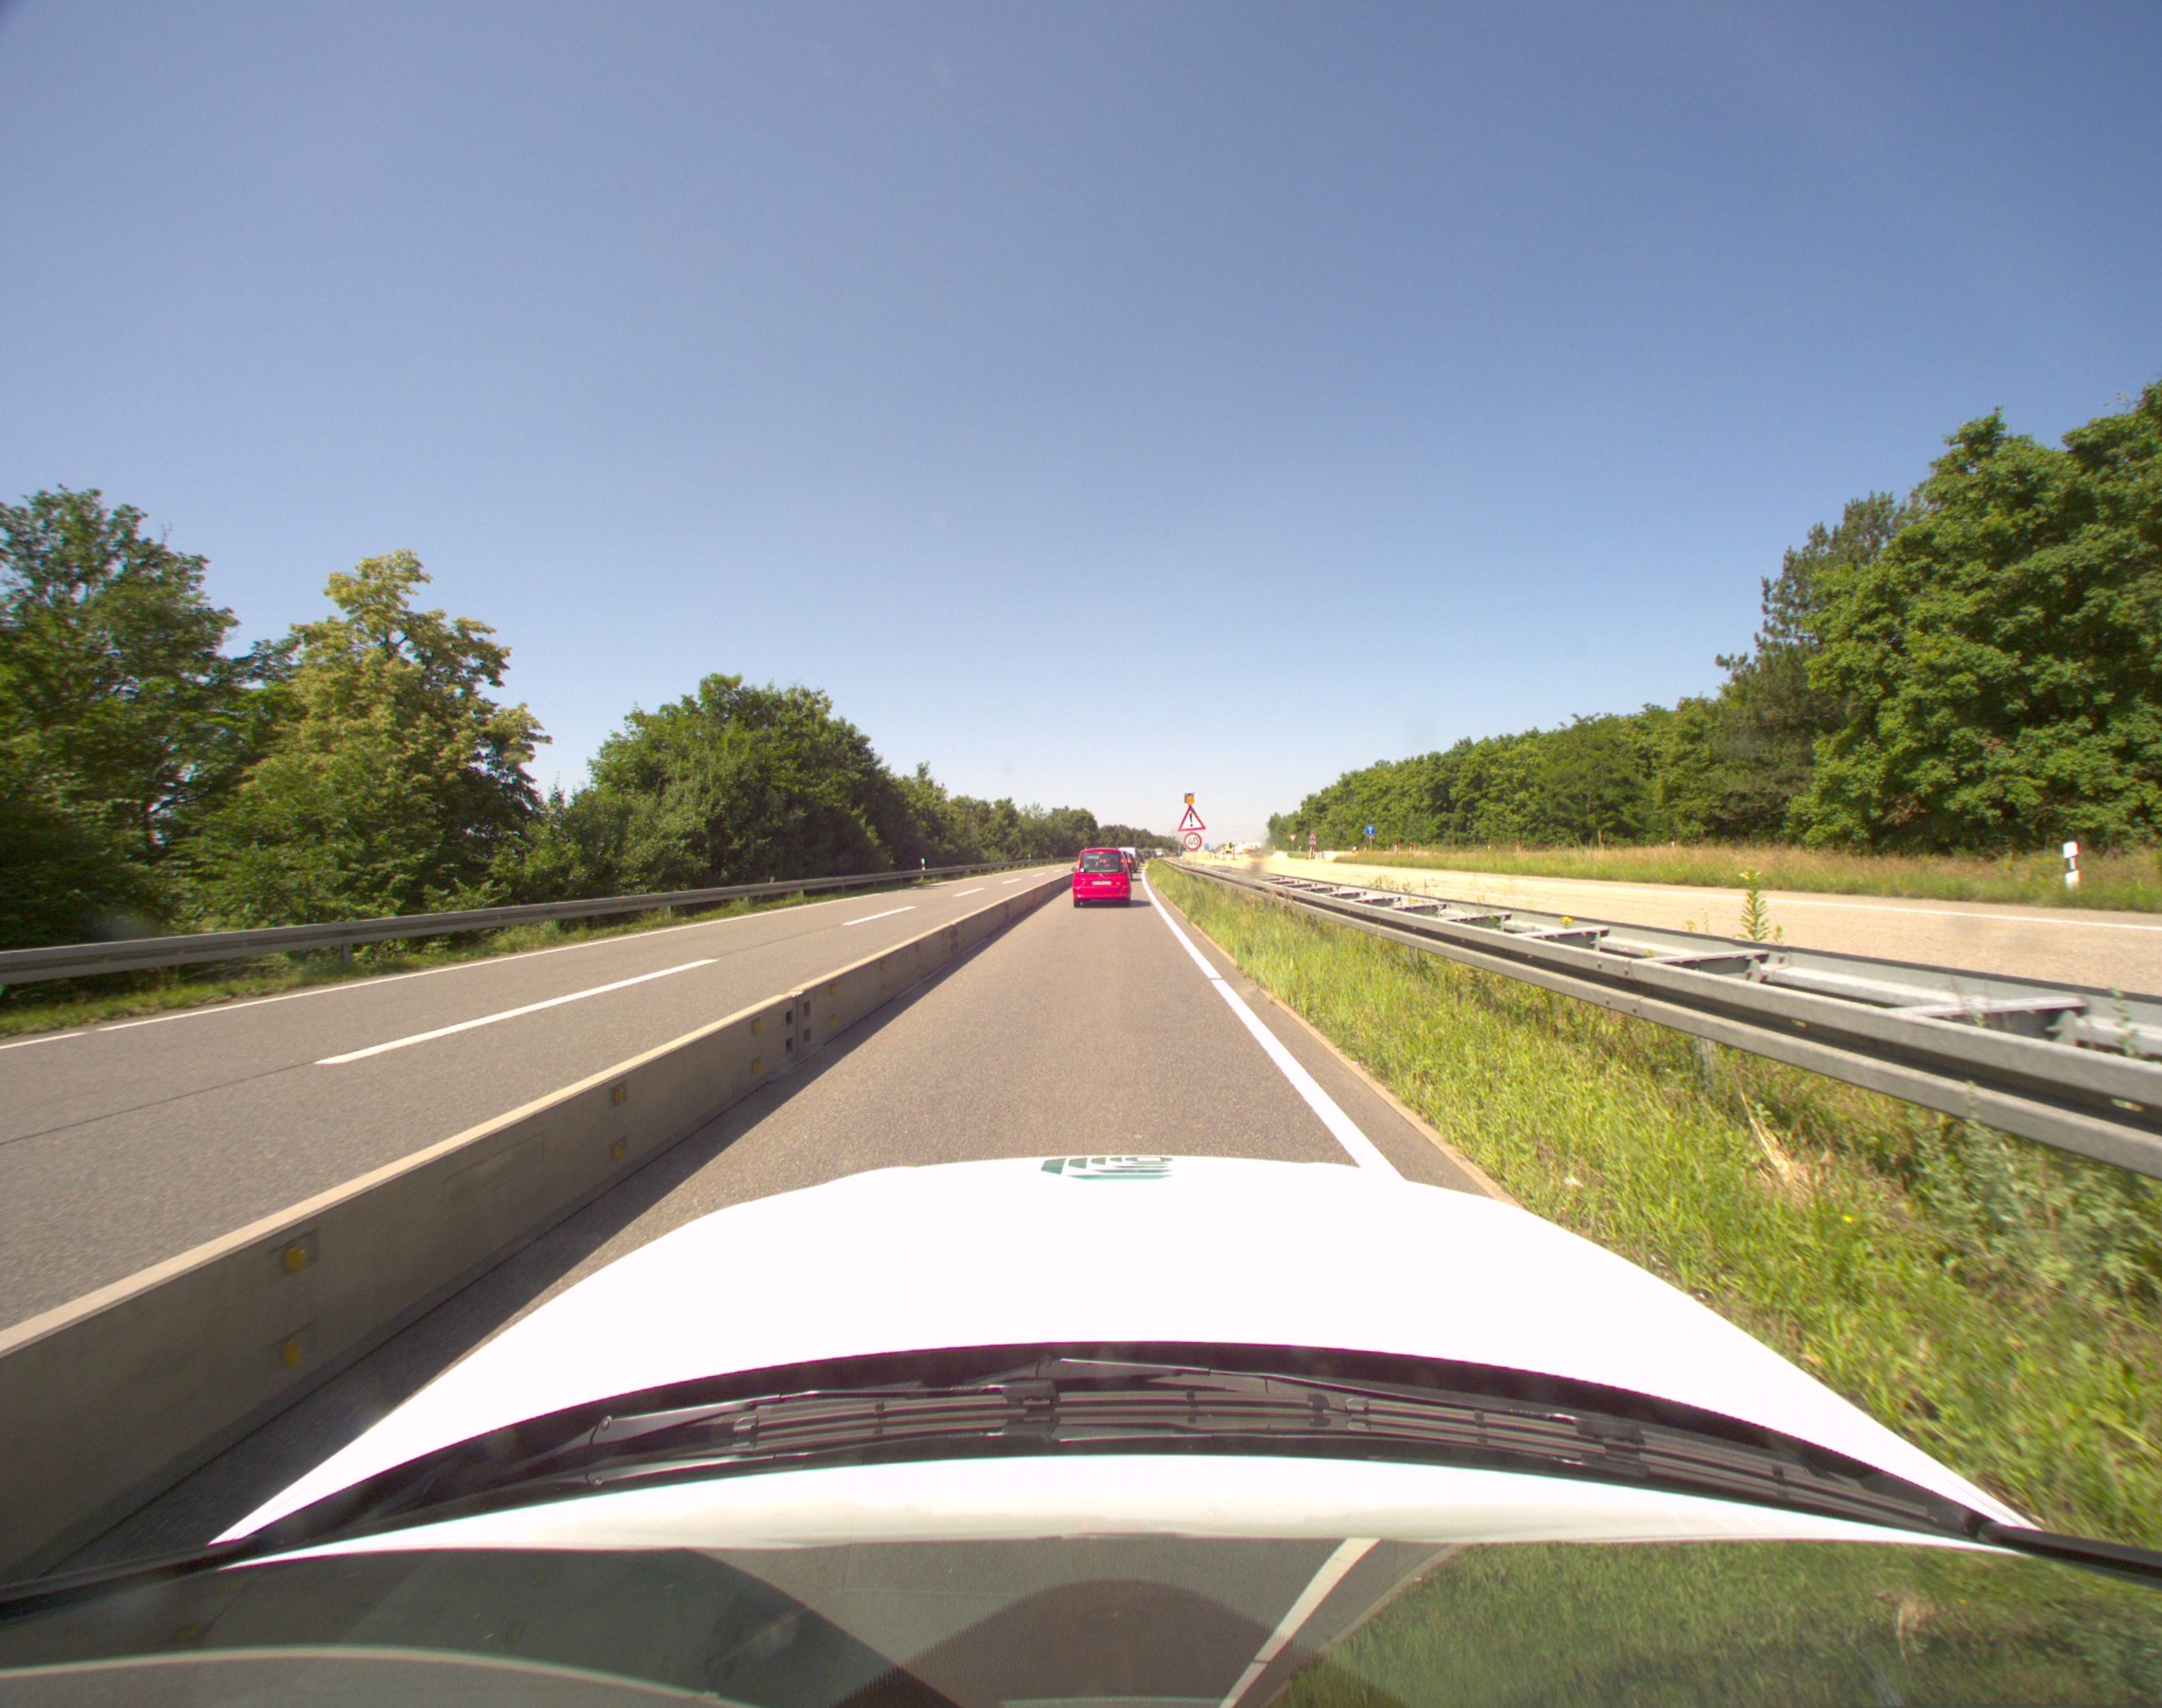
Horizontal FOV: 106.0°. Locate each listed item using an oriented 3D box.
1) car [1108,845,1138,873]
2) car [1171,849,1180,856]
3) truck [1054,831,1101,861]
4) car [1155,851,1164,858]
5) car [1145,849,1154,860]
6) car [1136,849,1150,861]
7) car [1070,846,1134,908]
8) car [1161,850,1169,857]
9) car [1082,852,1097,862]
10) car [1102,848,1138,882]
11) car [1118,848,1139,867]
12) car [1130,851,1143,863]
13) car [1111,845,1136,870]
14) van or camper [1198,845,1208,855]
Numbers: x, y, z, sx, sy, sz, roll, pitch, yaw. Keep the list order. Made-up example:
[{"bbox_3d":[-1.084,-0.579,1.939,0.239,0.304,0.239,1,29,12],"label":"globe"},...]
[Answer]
[{"bbox_3d":[3.009,0.353,58.057,1.985,1.838,4.003,-2,0,3],"label":"car"},{"bbox_3d":[22.177,-0.406,191.822,1.984,1.552,4.005,-1,0,4],"label":"car"},{"bbox_3d":[-0.715,-1.509,159.192,8.578,5.375,3.394,-2,0,5],"label":"truck"},{"bbox_3d":[14.683,0.095,152.168,1.414,1.298,2.884,-1,0,7],"label":"car"},{"bbox_3d":[11.502,0.036,136.335,1.495,1.736,3.174,-2,0,5],"label":"car"},{"bbox_3d":[9.134,0.131,120.305,1.984,1.585,4.006,-1,0,5],"label":"car"},{"bbox_3d":[0.611,0.623,24.398,1.746,1.673,4.000,-1,0,1],"label":"car"},{"bbox_3d":[17.344,-0.167,167.998,1.494,1.450,3.176,-2,0,7],"label":"car"},{"bbox_3d":[1.291,0.410,118.307,1.940,1.421,4.357,-2,0,3],"label":"car"},{"bbox_3d":[2.106,0.548,43.710,1.823,1.722,4.003,-1,0,3],"label":"car"},{"bbox_3d":[4.698,0.317,81.004,1.986,1.750,4.001,-1,0,1],"label":"car"},{"bbox_3d":[6.664,0.340,97.085,1.495,1.450,3.329,-1,0,4],"label":"car"},{"bbox_3d":[3.485,0.268,67.457,1.986,2.003,4.002,-1,0,2],"label":"car"},{"bbox_3d":[35.578,-1.128,236.969,2.319,2.707,4.596,-2,0,2],"label":"van or camper"}]
